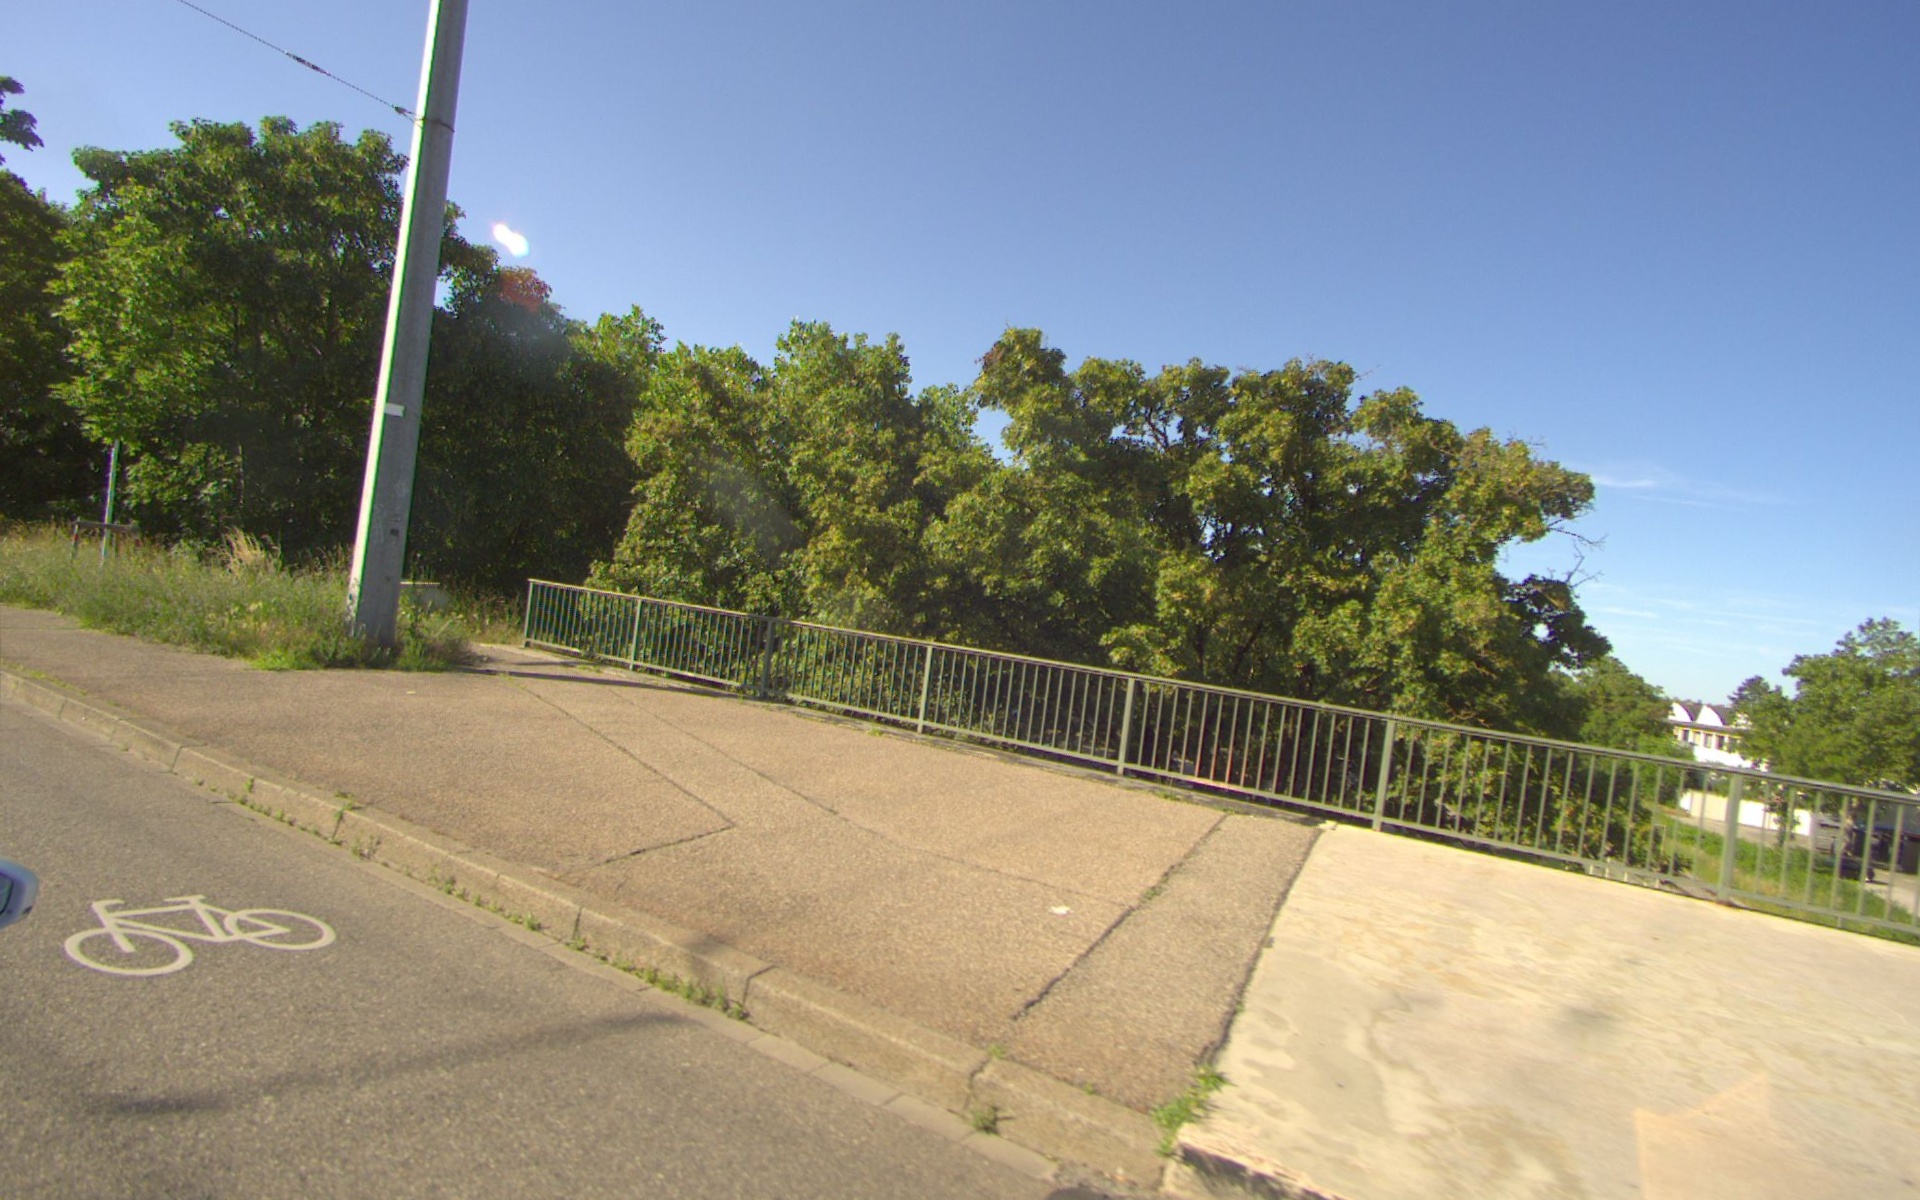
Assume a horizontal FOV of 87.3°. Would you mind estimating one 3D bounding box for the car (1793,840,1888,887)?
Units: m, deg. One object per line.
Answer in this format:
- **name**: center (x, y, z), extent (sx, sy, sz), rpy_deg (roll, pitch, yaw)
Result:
- **car**: center (55.084, 16.472, 63.020), extent (3.927, 1.658, 1.783), rpy_deg (9, -1, 23)
